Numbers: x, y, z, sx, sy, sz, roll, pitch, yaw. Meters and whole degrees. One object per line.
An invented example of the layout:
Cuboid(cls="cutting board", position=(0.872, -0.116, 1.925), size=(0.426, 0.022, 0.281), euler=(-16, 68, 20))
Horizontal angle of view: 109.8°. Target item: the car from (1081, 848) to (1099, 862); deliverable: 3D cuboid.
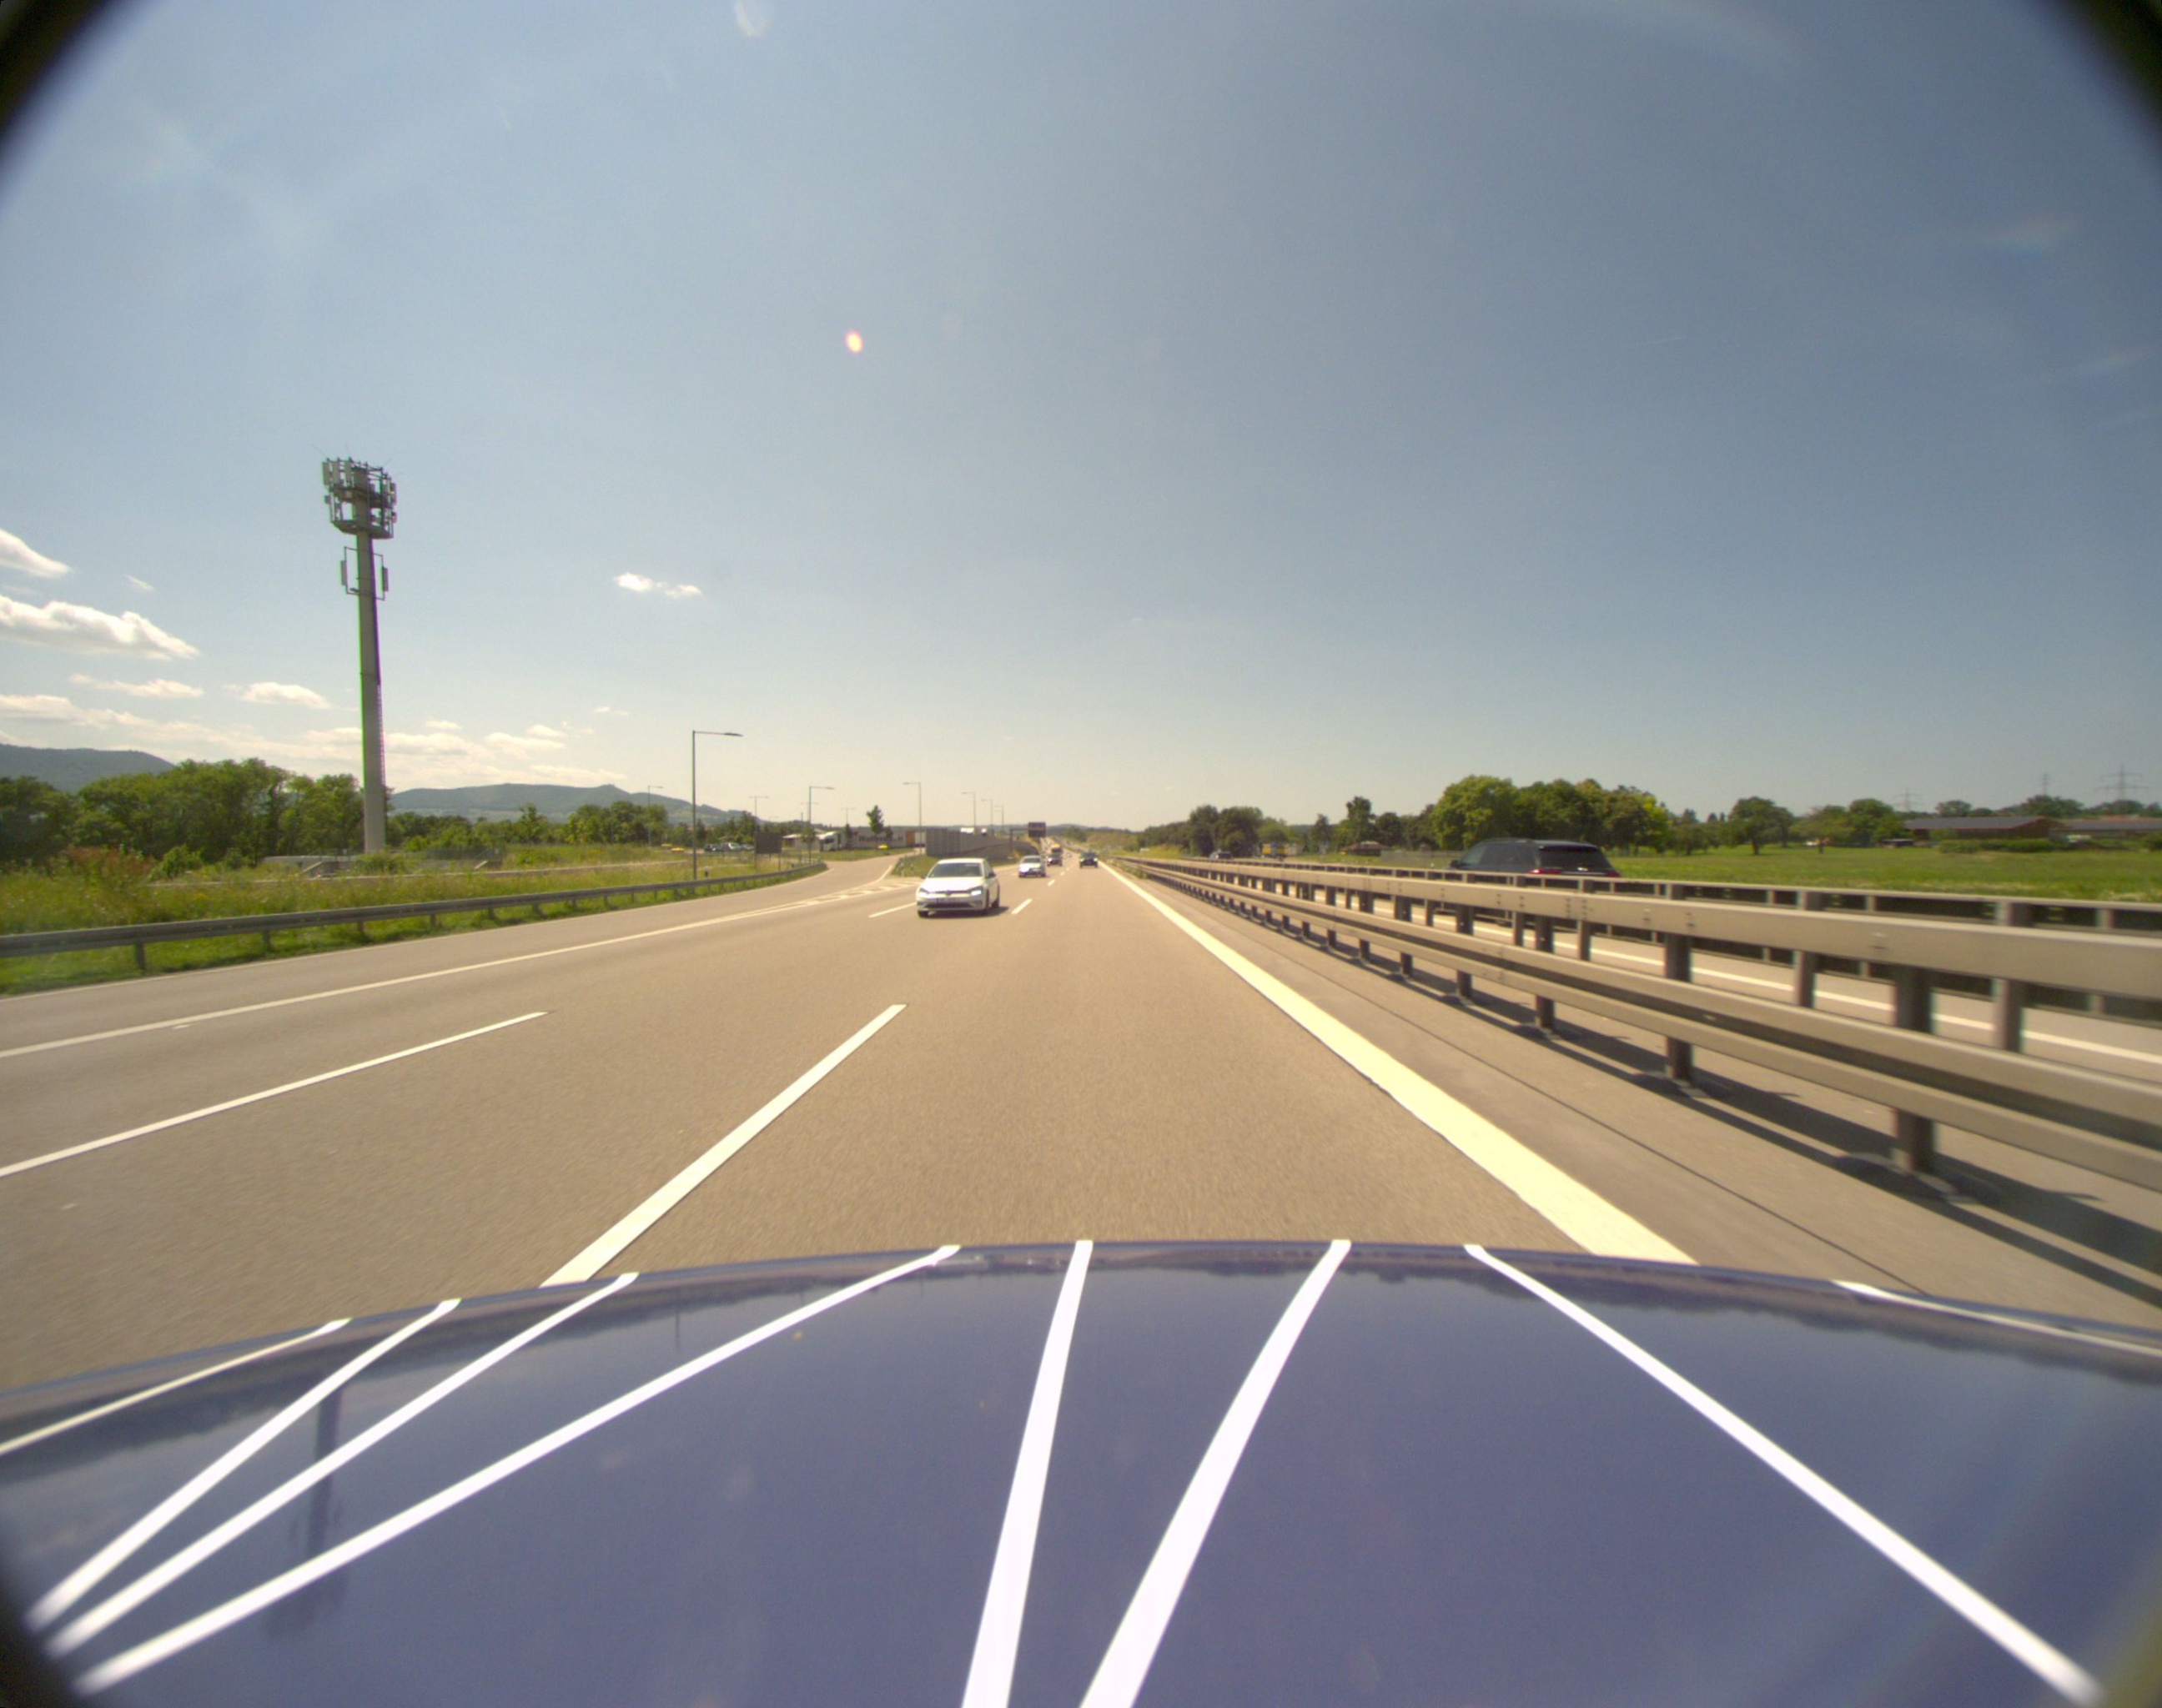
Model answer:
Cuboid(cls="car", position=(0.877, 0.082, 78.416), size=(1.751, 1.439, 3.999), euler=(-1, 1, -1))

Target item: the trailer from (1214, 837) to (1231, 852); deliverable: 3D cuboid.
Cuboid(cls="trailer", position=(36.669, -2.568, 197.135), size=(2.552, 3.641, 8.710), euler=(-2, 1, -2))

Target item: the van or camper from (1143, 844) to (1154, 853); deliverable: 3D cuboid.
Cuboid(cls="van or camper", position=(19.331, -1.586, 218.376), size=(2.542, 2.521, 6.707), euler=(-1, 2, 0))

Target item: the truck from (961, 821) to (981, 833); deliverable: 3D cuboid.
Cuboid(cls="truck", position=(-20.975, -5.124, 145.078), size=(2.715, 2.192, 7.285), euler=(-2, 1, -1))

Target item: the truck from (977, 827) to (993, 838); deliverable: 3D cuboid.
Cuboid(cls="truck", position=(-21.323, -4.846, 169.328), size=(2.730, 2.218, 6.034), euler=(-2, 1, -1))

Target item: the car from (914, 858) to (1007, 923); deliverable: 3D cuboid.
Cuboid(cls="car", position=(-3.192, 0.914, 21.052), size=(1.780, 1.425, 4.690), euler=(-2, 1, 0))

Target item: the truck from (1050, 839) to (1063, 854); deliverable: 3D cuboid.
Cuboid(cls="truck", position=(-7.132, -2.216, 218.172), size=(3.368, 4.038, 11.731), euler=(-2, 1, -4))

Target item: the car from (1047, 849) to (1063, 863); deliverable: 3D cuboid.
Cuboid(cls="car", position=(-3.195, 0.226, 94.126), size=(1.751, 1.559, 3.999), euler=(-2, 1, -1))

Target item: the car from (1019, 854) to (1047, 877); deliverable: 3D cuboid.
Cuboid(cls="car", position=(-3.225, 0.719, 51.281), size=(1.634, 1.381, 3.999), euler=(-2, 1, -1))

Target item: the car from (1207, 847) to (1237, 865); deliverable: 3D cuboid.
Cuboid(cls="car", position=(12.103, 0.167, 65.515), size=(1.824, 1.436, 3.999), euler=(1, 1, 1))

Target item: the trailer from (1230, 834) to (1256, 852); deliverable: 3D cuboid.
Cuboid(cls="trailer", position=(37.450, -2.548, 176.122), size=(2.775, 3.757, 14.408), euler=(-2, 1, 0))

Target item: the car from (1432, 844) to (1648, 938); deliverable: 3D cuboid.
Cuboid(cls="car", position=(9.185, 0.624, 15.735), size=(1.815, 1.631, 4.427), euler=(1, 1, 1))
